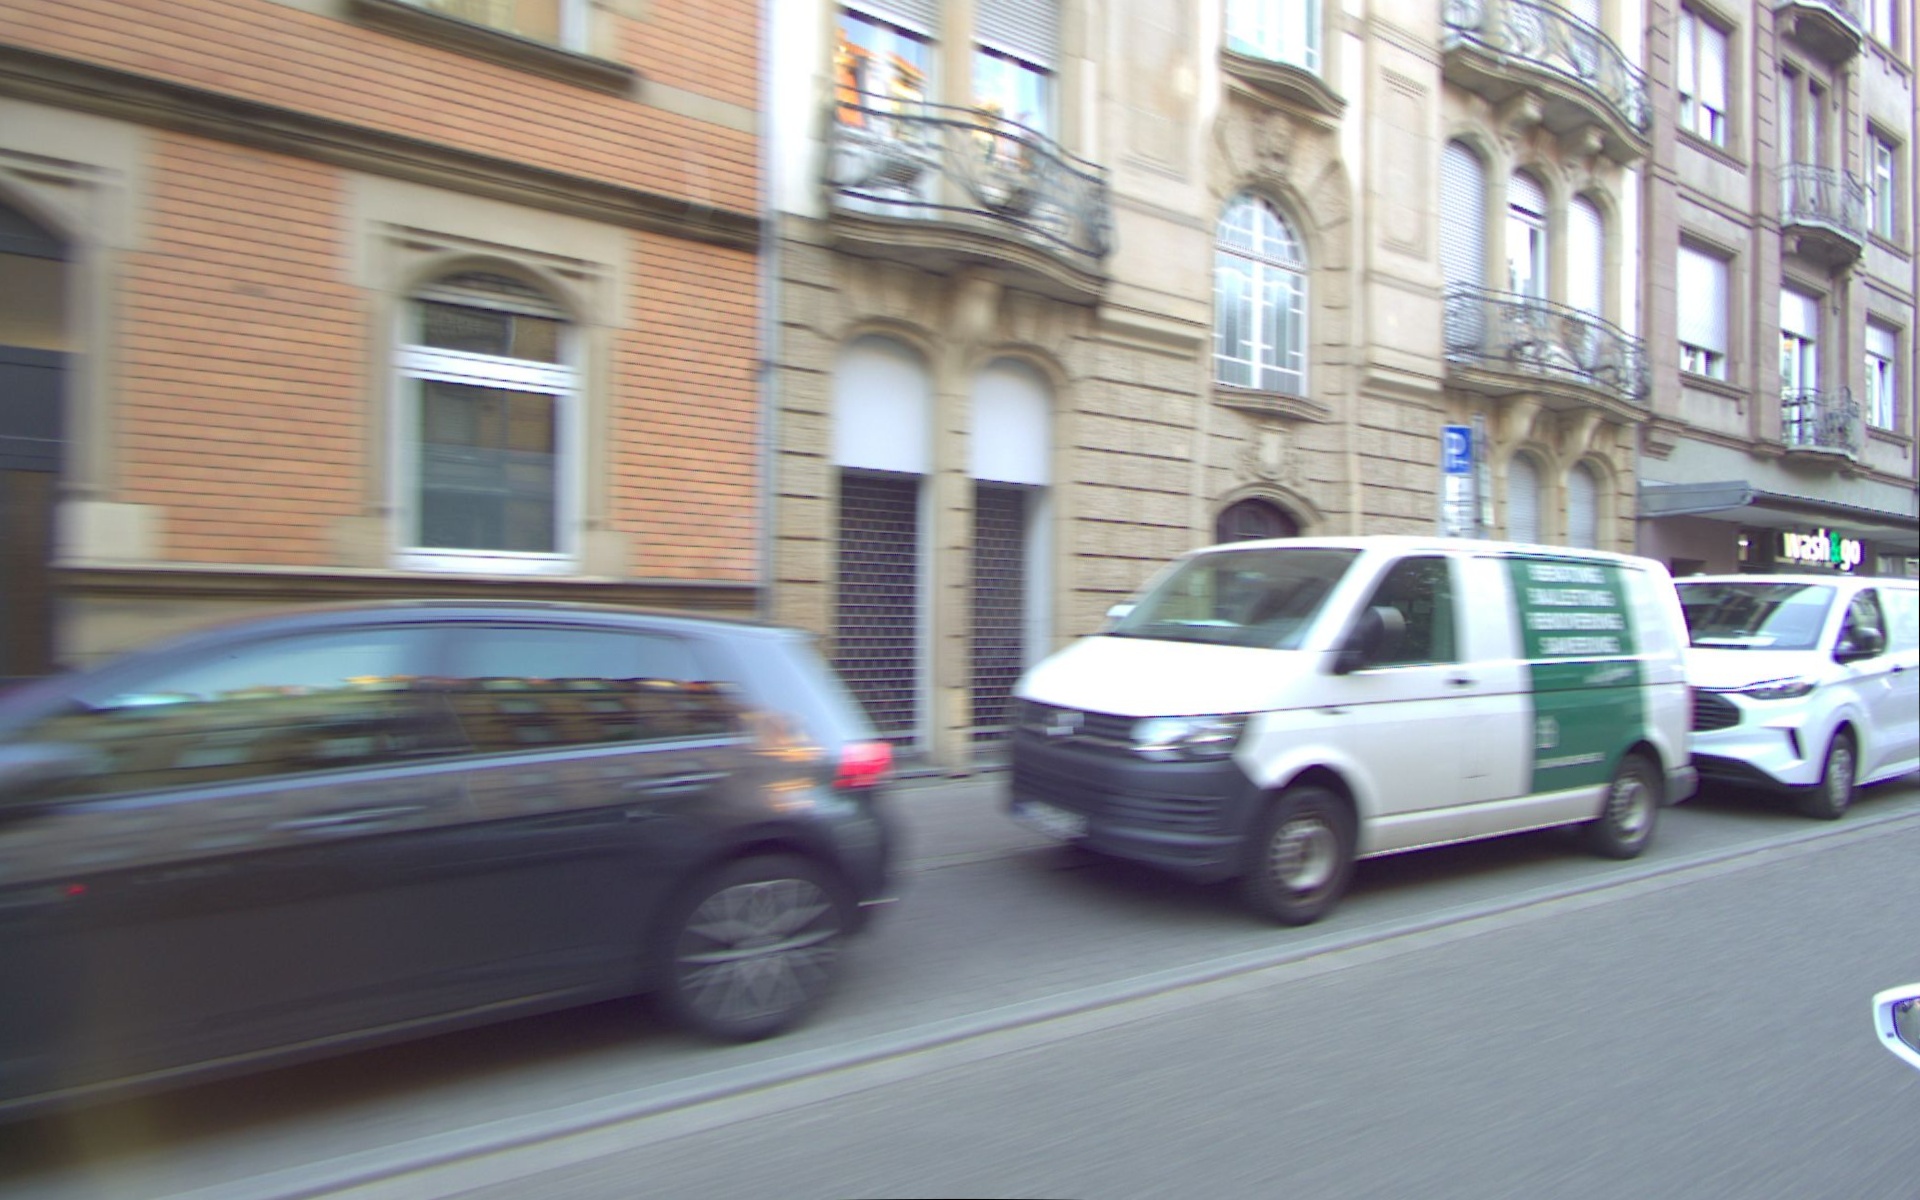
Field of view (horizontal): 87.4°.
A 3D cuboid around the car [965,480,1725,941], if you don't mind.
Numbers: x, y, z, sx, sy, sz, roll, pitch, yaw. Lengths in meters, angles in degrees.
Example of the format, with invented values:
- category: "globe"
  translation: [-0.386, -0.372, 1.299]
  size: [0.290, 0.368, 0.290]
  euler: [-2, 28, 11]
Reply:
- category: "car"
  translation: [2.552, 0.530, 6.248]
  size: [4.788, 1.947, 1.828]
  euler: [1, -1, -30]

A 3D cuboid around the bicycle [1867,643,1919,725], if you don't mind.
- category: "bicycle"
  translation: [14.338, 1.248, 15.078]
  size: [1.762, 1.157, 0.469]
  euler: [2, 0, -28]

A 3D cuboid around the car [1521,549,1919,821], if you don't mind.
- category: "car"
  translation: [7.671, 0.675, 9.430]
  size: [4.970, 1.947, 2.098]
  euler: [2, -1, -32]

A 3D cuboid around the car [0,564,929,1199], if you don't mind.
- category: "car"
  translation: [-2.333, 0.682, 3.209]
  size: [4.127, 1.490, 1.826]
  euler: [2, -1, -33]
